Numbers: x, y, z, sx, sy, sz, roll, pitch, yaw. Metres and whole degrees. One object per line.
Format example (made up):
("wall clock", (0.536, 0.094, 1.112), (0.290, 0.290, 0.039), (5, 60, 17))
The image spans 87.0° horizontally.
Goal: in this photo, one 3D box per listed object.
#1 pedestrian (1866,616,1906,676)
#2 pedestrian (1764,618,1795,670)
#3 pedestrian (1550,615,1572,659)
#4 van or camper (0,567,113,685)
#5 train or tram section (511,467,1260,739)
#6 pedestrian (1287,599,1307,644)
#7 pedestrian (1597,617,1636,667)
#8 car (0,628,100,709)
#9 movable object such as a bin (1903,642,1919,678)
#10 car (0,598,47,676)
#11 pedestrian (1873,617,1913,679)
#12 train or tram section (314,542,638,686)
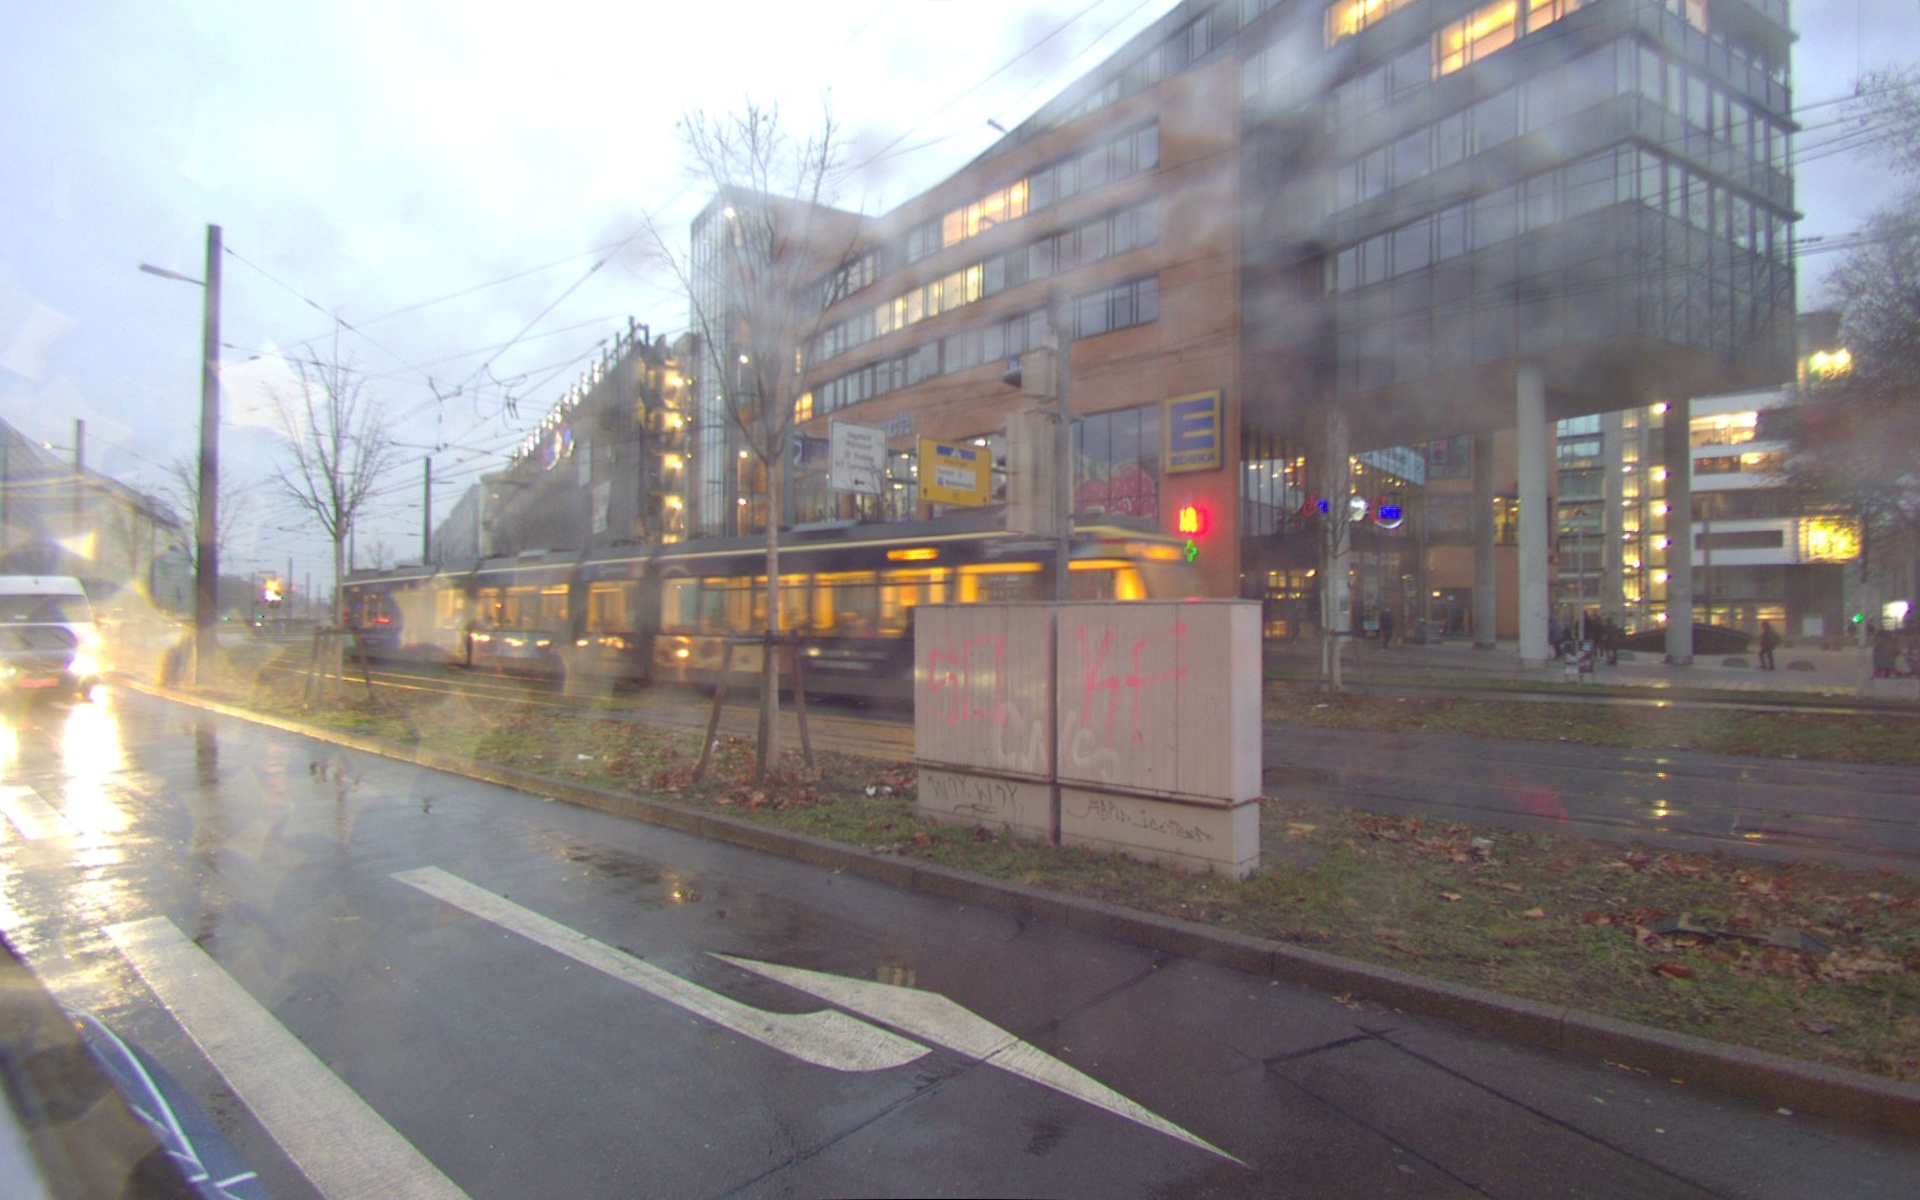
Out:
("pedestrian", (28.225, 1.390, 30.857), (0.859, 1.818, 0.790), (1, -2, -42))
("pedestrian", (27.701, 1.472, 34.207), (0.784, 1.725, 0.647), (-1, -2, 39))
("pedestrian", (22.270, 1.353, 37.516), (0.674, 1.620, 0.449), (-1, -2, 33))
("van or camper", (-22.601, 0.624, 24.572), (5.894, 2.551, 2.126), (-1, -2, 40))
("train or tram section", (-3.483, 0.210, 20.966), (19.204, 3.642, 2.834), (-1, -2, 41))
("pedestrian", (13.413, 0.843, 40.306), (0.658, 1.766, 0.534), (0, -2, 12))
("pedestrian", (22.844, 1.446, 35.227), (0.994, 1.725, 0.787), (1, -2, -34))
("car", (-17.721, 1.231, 19.190), (4.057, 1.355, 1.735), (-1, -1, 44))
("movable object such as a bin", (28.686, 1.789, 30.265), (0.566, 1.043, 0.647), (1, -2, -42))
("car", (-37.708, 1.427, 39.625), (5.809, 2.885, 2.102), (-1, -2, 40))
("pedestrian", (27.321, 1.391, 29.645), (0.821, 1.787, 0.564), (-1, -2, 42))
("train or tram section", (-17.056, 0.554, 33.685), (20.075, 3.642, 2.832), (-1, -2, 44))
